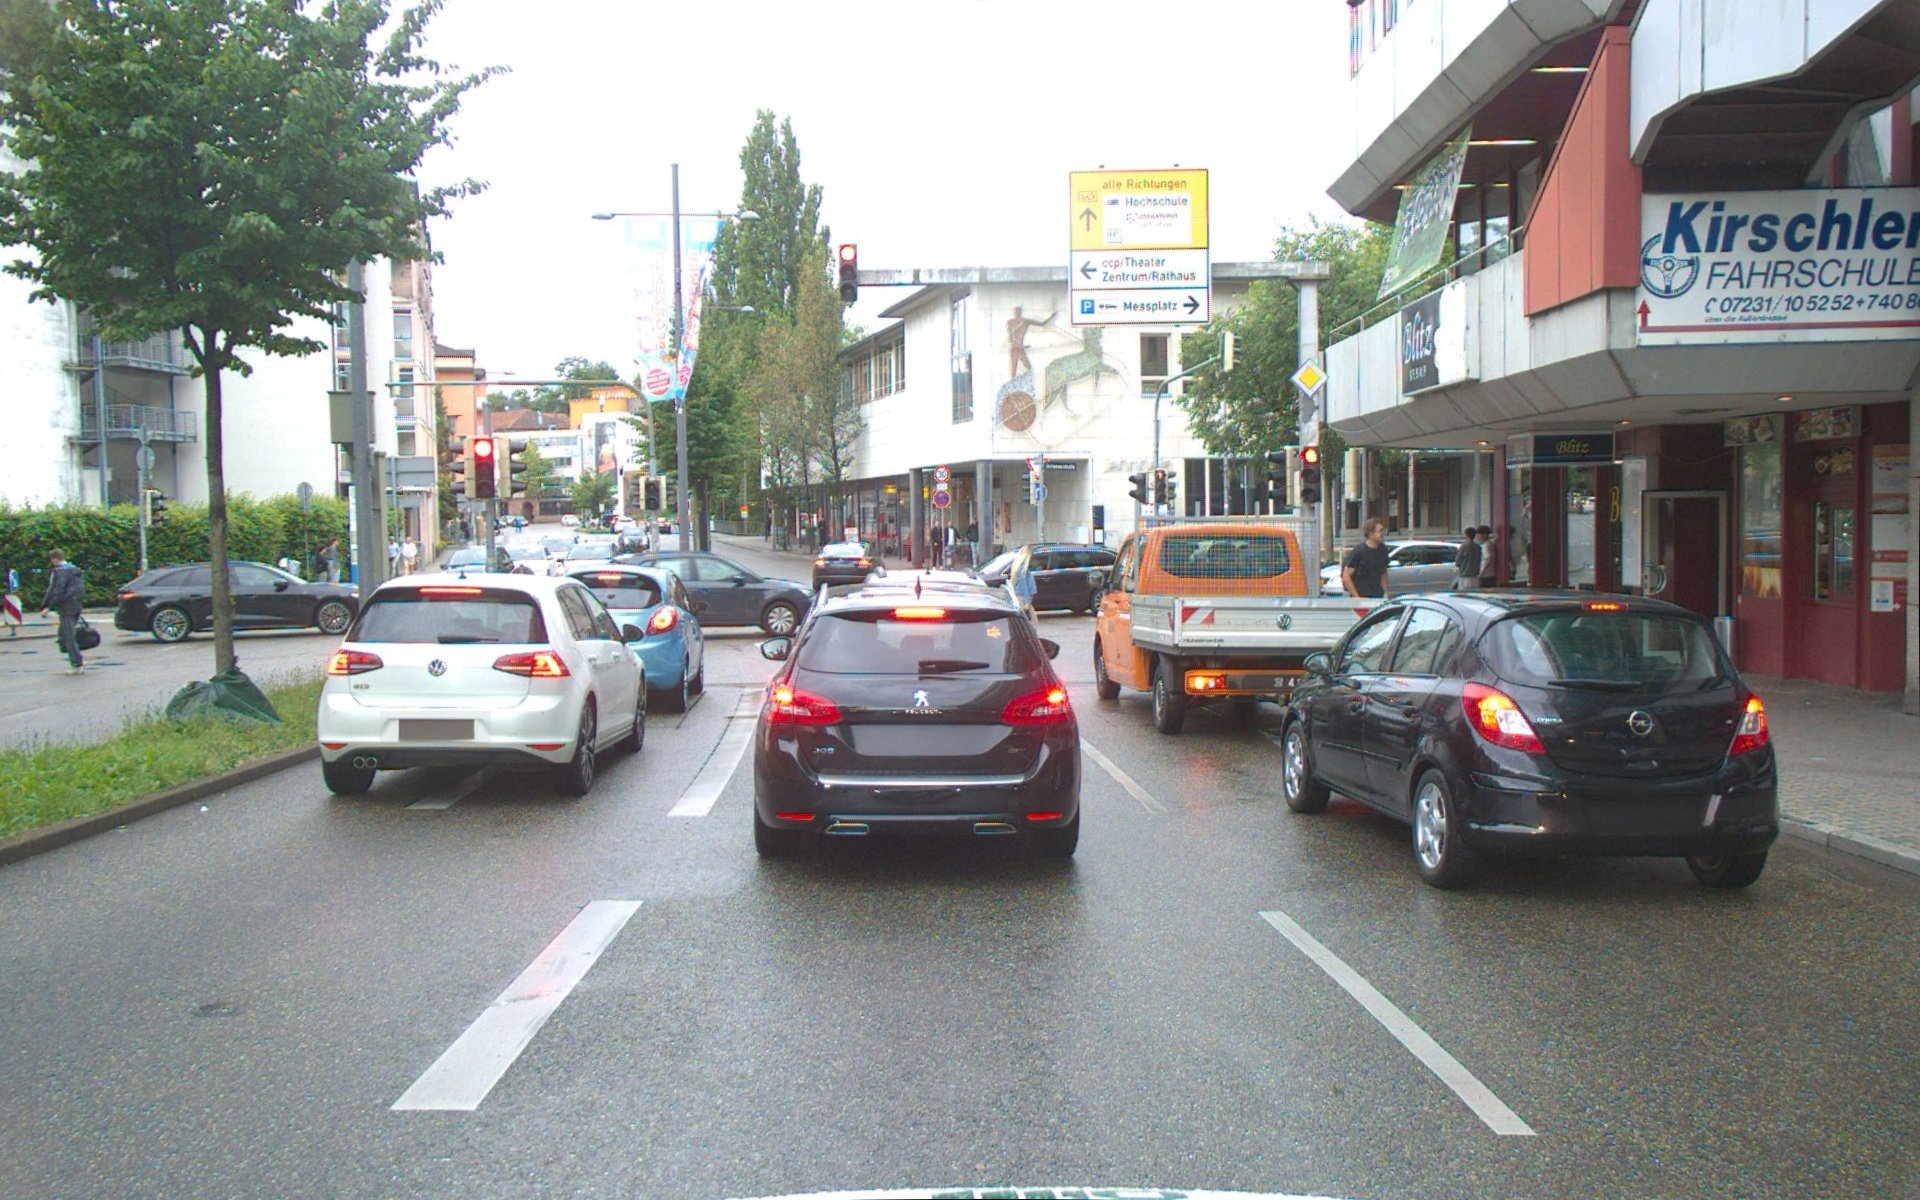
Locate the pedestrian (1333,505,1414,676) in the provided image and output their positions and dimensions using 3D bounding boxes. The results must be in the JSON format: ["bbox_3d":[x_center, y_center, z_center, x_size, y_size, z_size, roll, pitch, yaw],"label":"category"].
[{"bbox_3d":[4.698,-0.106,18.830,0.726,1.847,0.774,-4,-1,11],"label":"pedestrian"}]

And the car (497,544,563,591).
[{"bbox_3d":[-14.259,-1.095,54.986,1.602,1.512,3.605,1,2,-7],"label":"car"}]

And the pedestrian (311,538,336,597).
[{"bbox_3d":[-19.441,-0.976,50.526,0.529,1.778,0.746,1,-1,-9],"label":"pedestrian"}]

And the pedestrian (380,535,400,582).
[{"bbox_3d":[-21.969,-1.595,63.777,0.584,1.758,0.655,1,-1,-9],"label":"pedestrian"}]

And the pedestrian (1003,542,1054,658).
[{"bbox_3d":[1.027,0.004,24.871,0.733,1.710,0.709,1,-1,1],"label":"pedestrian"}]

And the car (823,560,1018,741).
[{"bbox_3d":[-0.373,0.390,16.105,1.662,1.512,3.793,1,2,-1],"label":"car"}]

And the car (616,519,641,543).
[{"bbox_3d":[-29.369,-6.079,146.550,1.679,1.915,3.980,1,-1,-18],"label":"car"}]

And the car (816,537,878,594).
[{"bbox_3d":[-3.340,-0.968,48.487,1.691,1.516,4.728,1,-1,-5],"label":"car"}]

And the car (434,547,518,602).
[{"bbox_3d":[-13.854,-0.766,47.517,1.543,1.512,3.607,1,2,-4],"label":"car"}]

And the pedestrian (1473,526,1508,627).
[{"bbox_3d":[8.849,-0.387,27.598,0.388,1.668,0.504,-1,-1,0],"label":"pedestrian"}]

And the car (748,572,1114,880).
[{"bbox_3d":[-0.227,0.578,9.854,1.742,1.454,3.840,1,1,-3],"label":"car"}]

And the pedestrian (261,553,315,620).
[{"bbox_3d":[-16.550,-0.327,40.740,1.041,1.606,0.683,1,-1,-6],"label":"pedestrian"}]

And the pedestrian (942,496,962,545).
[{"bbox_3d":[-0.293,-2.960,61.578,0.623,1.788,0.734,1,-1,5],"label":"pedestrian"}]

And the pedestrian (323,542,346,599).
[{"bbox_3d":[-19.724,-0.933,52.174,0.528,1.778,0.564,1,-1,-6],"label":"pedestrian"}]

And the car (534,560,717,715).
[{"bbox_3d":[-3.600,0.340,18.296,1.601,1.512,3.606,1,2,-6],"label":"car"}]

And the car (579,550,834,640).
[{"bbox_3d":[-4.577,-0.120,29.963,4.410,1.480,1.789,-1,3,-10],"label":"car"}]

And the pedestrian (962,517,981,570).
[{"bbox_3d":[0.445,-2.120,62.213,0.623,1.930,0.734,1,-1,5],"label":"pedestrian"}]

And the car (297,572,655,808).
[{"bbox_3d":[-3.377,0.538,12.276,1.742,1.454,3.839,1,1,-4],"label":"car"}]

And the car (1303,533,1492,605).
[{"bbox_3d":[9.824,-0.673,37.217,3.828,1.512,1.618,1,-1,-13],"label":"car"}]

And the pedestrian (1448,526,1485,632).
[{"bbox_3d":[8.342,-0.340,27.249,0.417,1.712,0.450,-1,-1,-2],"label":"pedestrian"}]

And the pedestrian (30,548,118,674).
[{"bbox_3d":[-13.004,0.163,24.297,0.905,1.815,0.708,1,-1,-6],"label":"pedestrian"}]

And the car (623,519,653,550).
[{"bbox_3d":[-19.340,-3.913,99.309,1.713,1.669,3.989,1,-1,-11],"label":"car"}]

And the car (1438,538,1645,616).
[{"bbox_3d":[12.019,-0.445,34.192,3.927,1.512,1.614,1,-1,-20],"label":"car"}]

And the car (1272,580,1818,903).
[{"bbox_3d":[3.074,0.635,9.562,1.584,1.454,3.839,1,1,-4],"label":"car"}]

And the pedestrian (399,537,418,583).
[{"bbox_3d":[-21.402,-1.536,64.166,0.584,1.758,0.655,1,-1,-9],"label":"pedestrian"}]

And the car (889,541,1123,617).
[{"bbox_3d":[0.954,-0.436,34.601,4.647,1.512,1.631,0,2,-17],"label":"car"}]

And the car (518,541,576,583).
[{"bbox_3d":[-15.272,-1.424,61.297,1.602,1.512,3.605,1,2,-7],"label":"car"}]

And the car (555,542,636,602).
[{"bbox_3d":[-10.679,-0.789,48.696,1.710,1.607,3.996,1,-1,-4],"label":"car"}]

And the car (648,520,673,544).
[{"bbox_3d":[-26.727,-6.038,147.381,1.679,1.970,3.980,1,-1,-18],"label":"car"}]

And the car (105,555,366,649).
[{"bbox_3d":[-13.860,-0.011,31.941,4.427,1.479,1.782,-4,3,-21],"label":"car"}]

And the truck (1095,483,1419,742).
[{"bbox_3d":[2.777,0.043,16.793,2.133,2.210,5.018,1,2,-3],"label":"truck"}]
